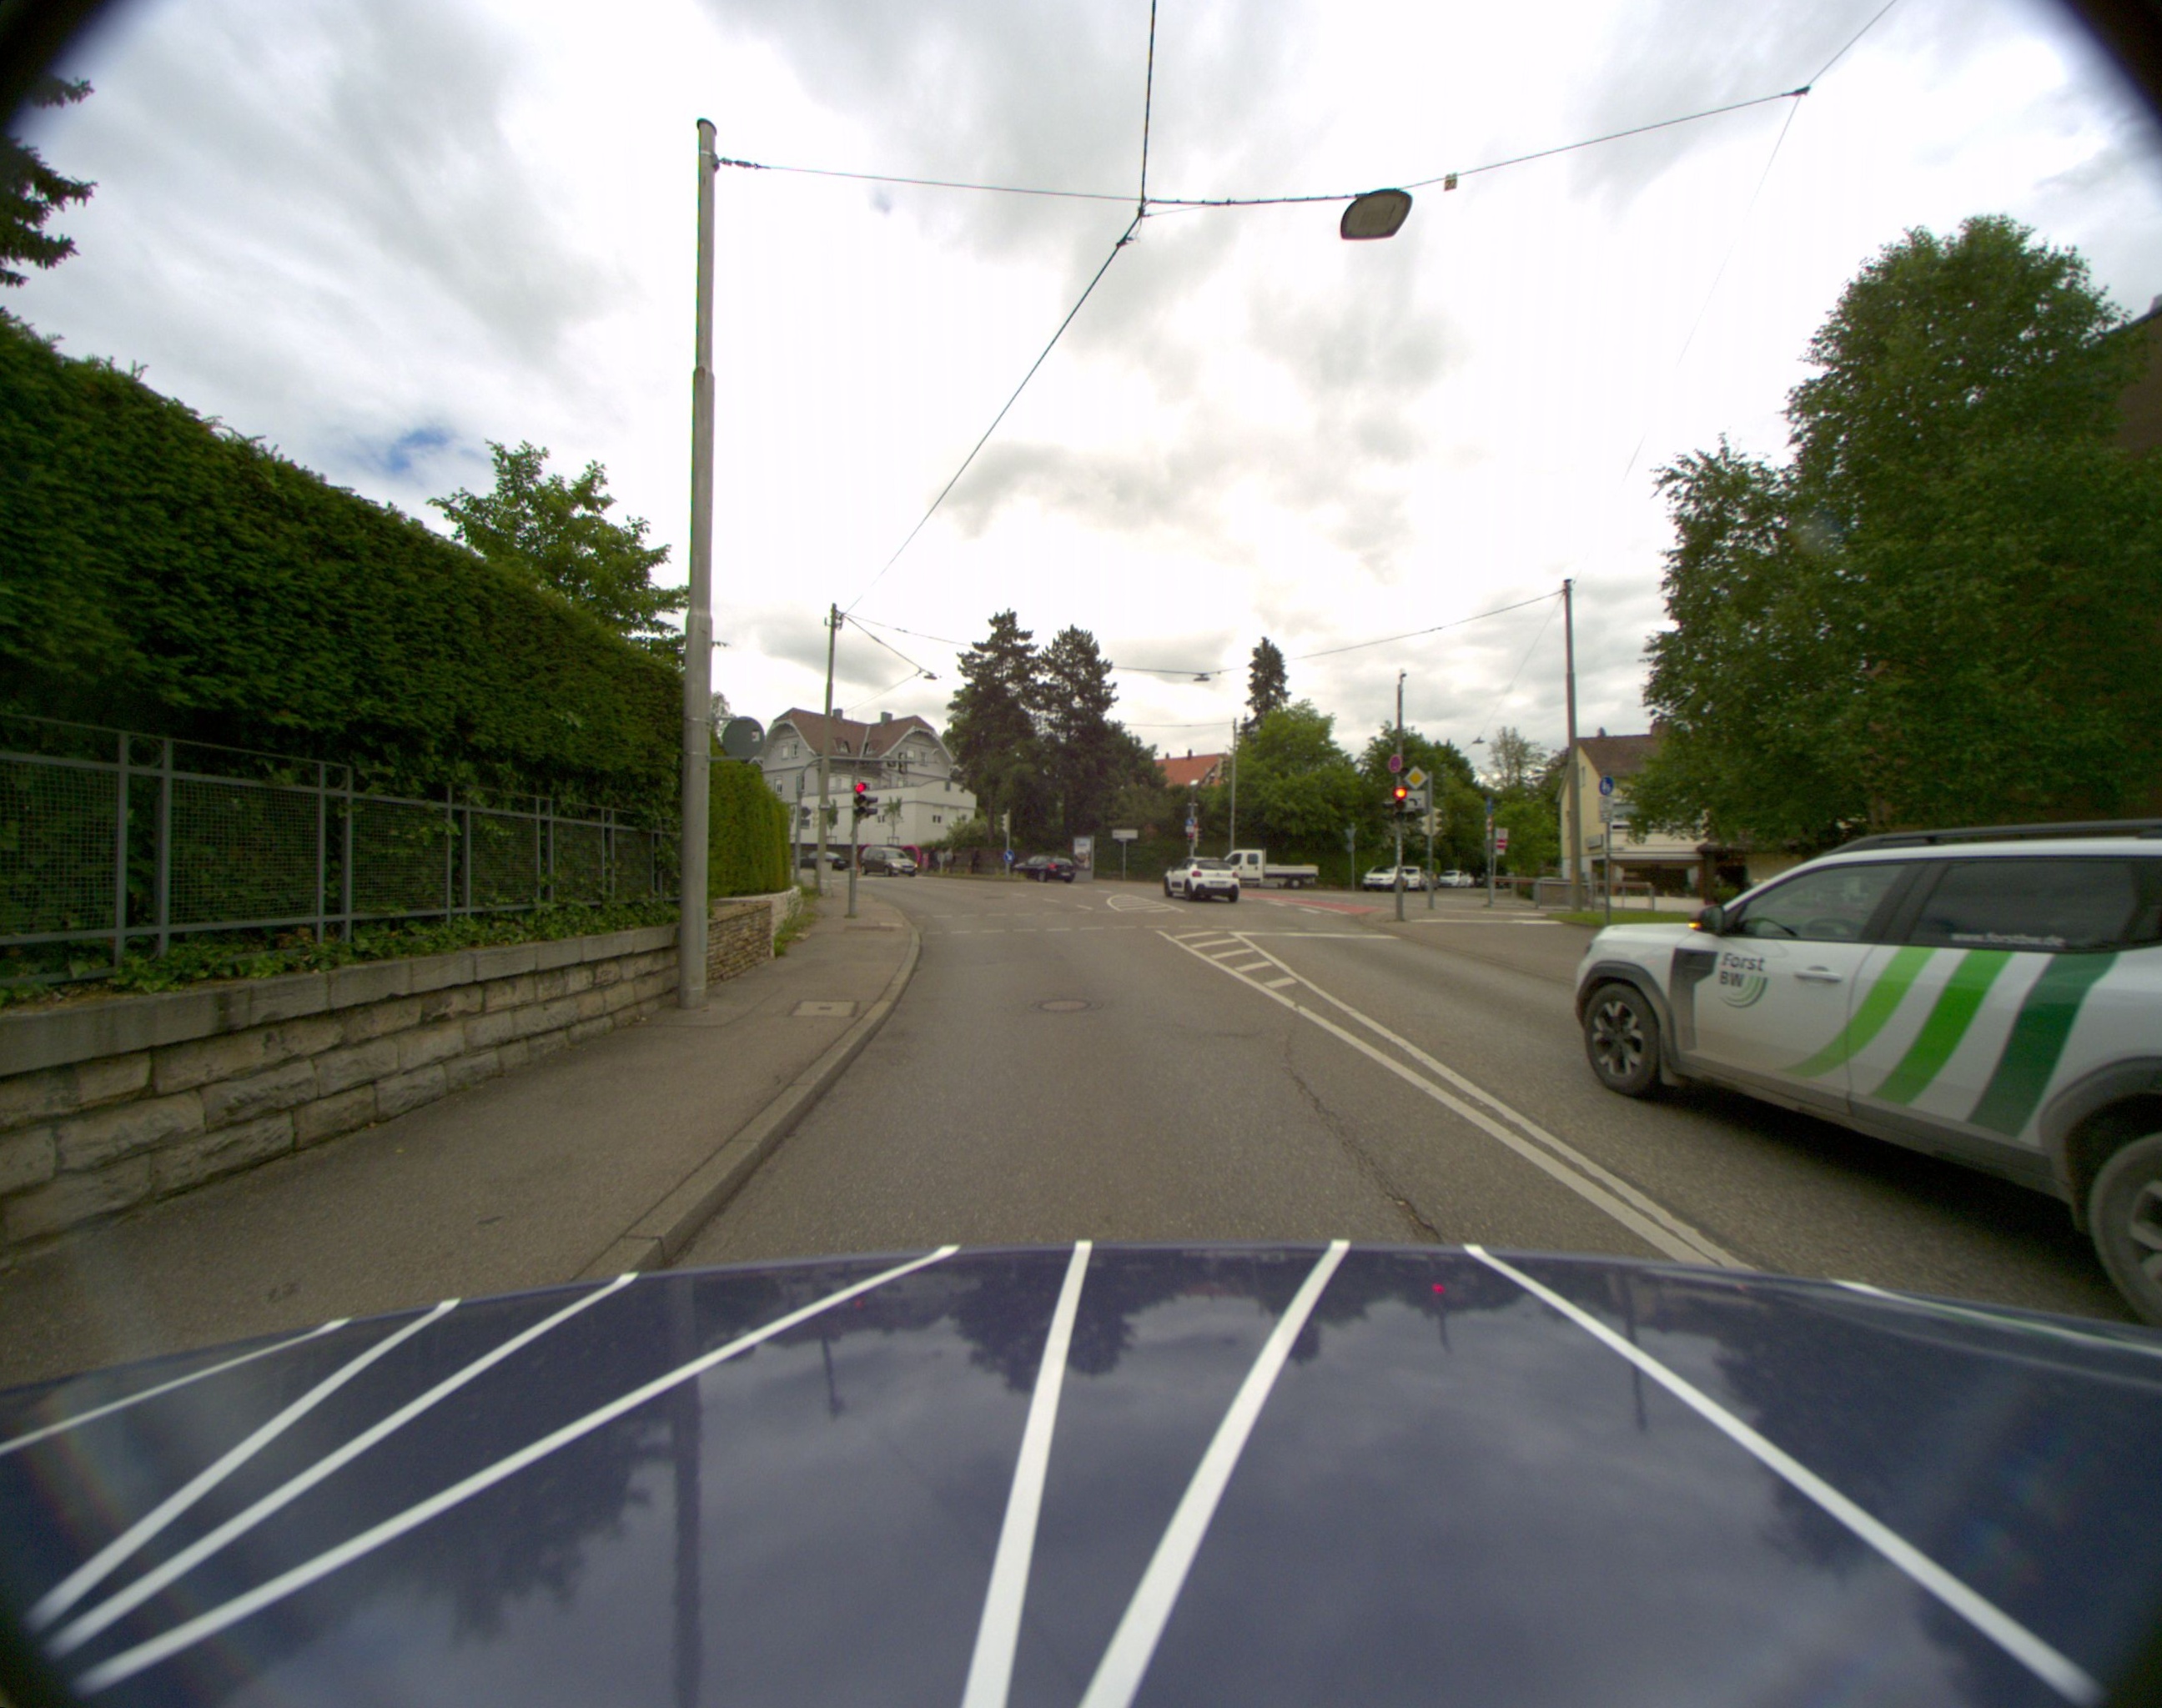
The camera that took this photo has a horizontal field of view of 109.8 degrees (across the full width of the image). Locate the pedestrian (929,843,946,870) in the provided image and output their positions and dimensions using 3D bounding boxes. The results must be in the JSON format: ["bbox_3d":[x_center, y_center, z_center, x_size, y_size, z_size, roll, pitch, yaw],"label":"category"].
[{"bbox_3d":[-9.690,0.176,51.336,0.686,1.803,0.882,2,1,31],"label":"pedestrian"}]

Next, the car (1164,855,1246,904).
[{"bbox_3d":[4.177,0.815,26.219,1.701,1.431,3.754,3,0,-7],"label":"car"}]

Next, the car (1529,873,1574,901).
[{"bbox_3d":[26.779,1.846,43.344,1.875,1.440,4.008,2,0,27],"label":"car"}]

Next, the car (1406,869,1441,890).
[{"bbox_3d":[24.933,1.810,55.226,1.867,1.445,3.739,0,0,31],"label":"car"}]

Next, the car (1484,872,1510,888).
[{"bbox_3d":[45.235,2.813,82.604,1.866,1.577,3.739,2,0,37],"label":"car"}]

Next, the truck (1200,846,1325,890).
[{"bbox_3d":[10.342,0.756,43.648,6.705,2.176,2.532,2,1,13],"label":"truck"}]

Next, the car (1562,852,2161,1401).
[{"bbox_3d":[4.177,0.858,3.078,1.773,1.628,4.302,3,0,2],"label":"car"}]

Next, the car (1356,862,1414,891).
[{"bbox_3d":[18.345,1.328,45.804,1.994,1.603,4.009,2,0,41],"label":"car"}]

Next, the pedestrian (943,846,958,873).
[{"bbox_3d":[-8.583,0.348,50.118,0.665,1.777,0.614,2,0,31],"label":"pedestrian"}]

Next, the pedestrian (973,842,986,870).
[{"bbox_3d":[-6.804,0.124,50.968,0.611,1.824,0.605,2,0,29],"label":"pedestrian"}]

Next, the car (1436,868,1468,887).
[{"bbox_3d":[33.145,2.079,67.789,1.866,1.577,3.739,1,0,37],"label":"car"}]

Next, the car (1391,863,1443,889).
[{"bbox_3d":[22.126,1.432,49.972,1.994,1.603,4.009,2,0,41],"label":"car"}]

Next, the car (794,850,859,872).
[{"bbox_3d":[-18.072,0.477,53.832,4.853,1.320,1.856,2,1,35],"label":"car"}]

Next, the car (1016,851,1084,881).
[{"bbox_3d":[-1.676,0.603,39.926,1.771,1.400,3.990,2,0,-32],"label":"car"}]

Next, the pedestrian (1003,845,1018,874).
[{"bbox_3d":[-4.623,0.354,49.753,0.611,1.824,0.680,2,0,28],"label":"pedestrian"}]

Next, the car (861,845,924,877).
[{"bbox_3d":[-10.240,0.336,41.103,1.621,1.571,3.989,0,2,-42],"label":"car"}]
